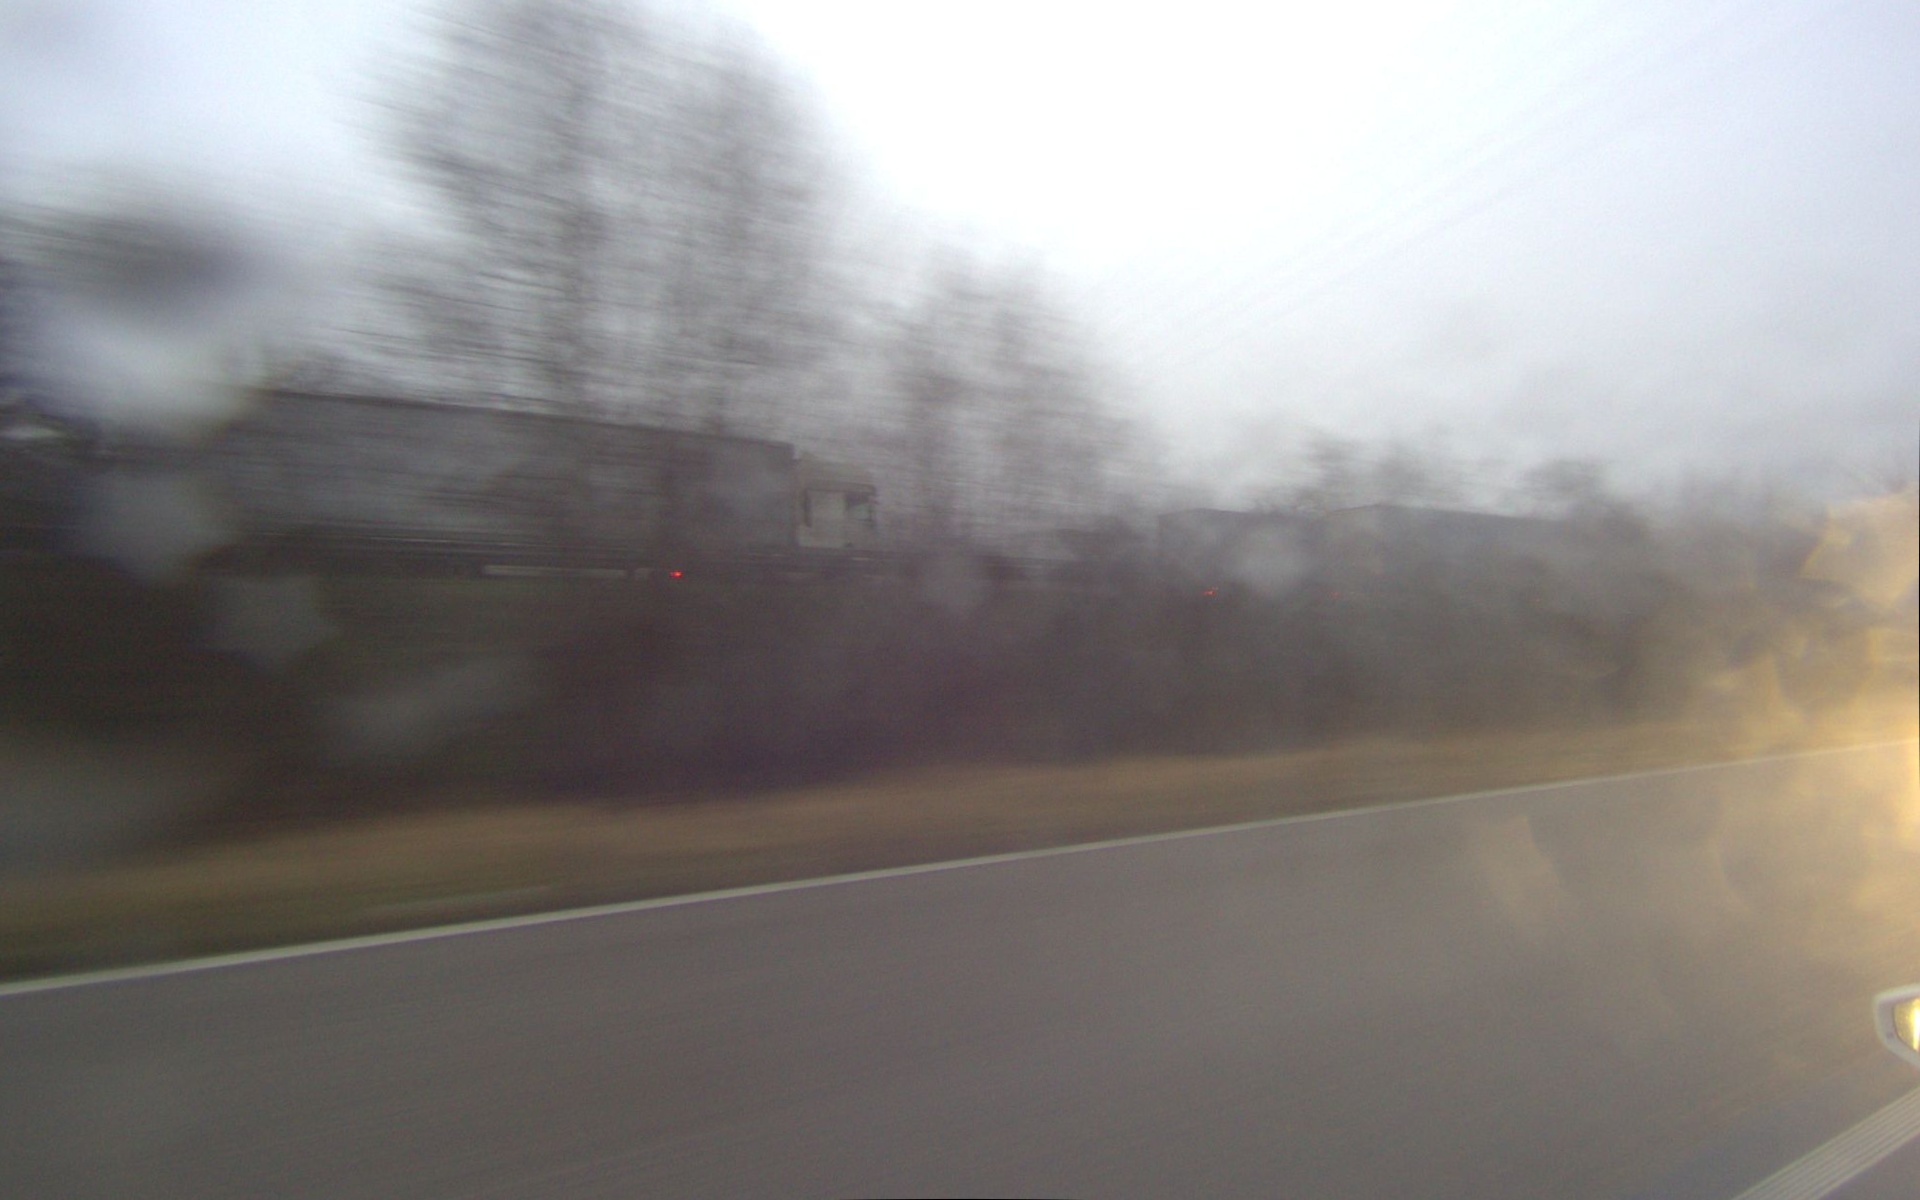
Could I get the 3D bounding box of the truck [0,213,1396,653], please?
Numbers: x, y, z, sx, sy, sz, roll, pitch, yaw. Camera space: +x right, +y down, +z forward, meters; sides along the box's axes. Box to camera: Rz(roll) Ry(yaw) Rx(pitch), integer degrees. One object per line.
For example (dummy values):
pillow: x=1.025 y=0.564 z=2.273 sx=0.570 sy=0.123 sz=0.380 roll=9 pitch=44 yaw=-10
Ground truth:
truck: x=-2.600 y=-2.515 z=31.014 sx=39.680 sy=7.815 sz=7.507 roll=2 pitch=0 yaw=-30
